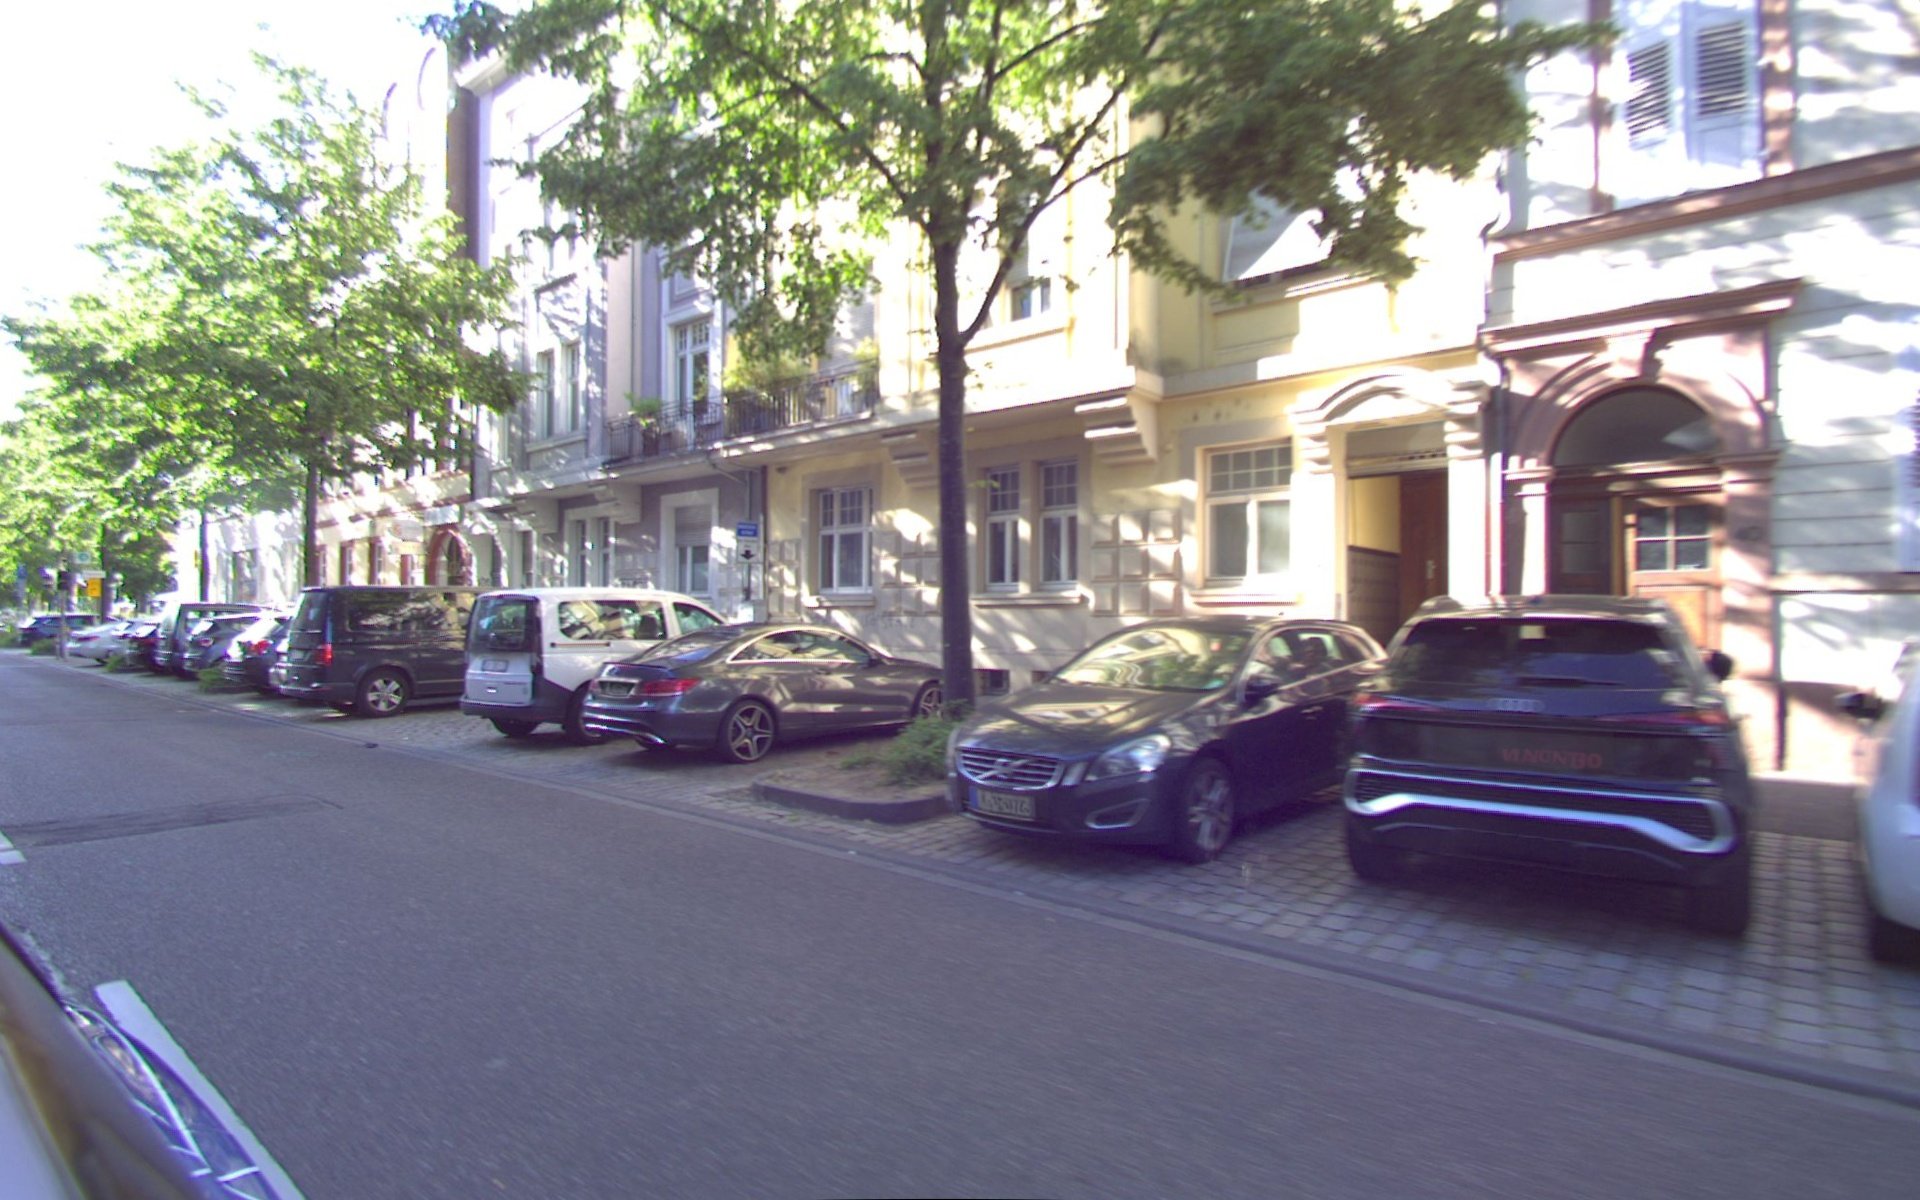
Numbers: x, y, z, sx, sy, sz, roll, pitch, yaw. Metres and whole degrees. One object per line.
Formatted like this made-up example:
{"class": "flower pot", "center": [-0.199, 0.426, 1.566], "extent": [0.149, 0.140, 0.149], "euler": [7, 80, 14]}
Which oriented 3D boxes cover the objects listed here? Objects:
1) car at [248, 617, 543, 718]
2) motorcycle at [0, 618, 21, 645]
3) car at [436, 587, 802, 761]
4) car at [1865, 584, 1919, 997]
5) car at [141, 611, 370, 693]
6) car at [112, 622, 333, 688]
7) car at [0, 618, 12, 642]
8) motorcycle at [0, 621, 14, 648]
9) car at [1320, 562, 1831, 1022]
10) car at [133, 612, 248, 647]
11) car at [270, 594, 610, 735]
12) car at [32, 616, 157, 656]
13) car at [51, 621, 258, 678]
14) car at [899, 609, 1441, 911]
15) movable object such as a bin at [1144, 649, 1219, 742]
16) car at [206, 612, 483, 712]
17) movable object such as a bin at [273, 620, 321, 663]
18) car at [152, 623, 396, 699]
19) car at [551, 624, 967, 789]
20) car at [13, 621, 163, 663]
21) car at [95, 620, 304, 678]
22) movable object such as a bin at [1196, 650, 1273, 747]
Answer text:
{"class": "car", "center": [-10.098, 1.107, 18.396], "extent": [1.915, 1.607, 4.296], "euler": [-1, -1, 39]}
{"class": "motorcycle", "center": [-52.627, 1.717, 55.322], "extent": [1.724, 1.434, 0.832], "euler": [0, -1, -22]}
{"class": "car", "center": [-4.176, 0.826, 13.125], "extent": [1.910, 1.848, 4.307], "euler": [-1, -1, 31]}
{"class": "car", "center": [5.736, 0.751, 4.983], "extent": [1.808, 1.594, 4.294], "euler": [-1, -1, 41]}
{"class": "car", "center": [-17.362, 1.209, 25.120], "extent": [1.927, 1.838, 4.299], "euler": [-1, -1, 37]}
{"class": "car", "center": [-19.300, 1.371, 26.692], "extent": [1.956, 1.556, 4.309], "euler": [-1, -1, 30]}
{"class": "car", "center": [-63.736, 1.936, 64.848], "extent": [1.978, 1.574, 3.988], "euler": [0, -1, 10]}
{"class": "motorcycle", "center": [-52.447, 1.871, 54.286], "extent": [2.282, 1.434, 1.004], "euler": [0, -1, -22]}
{"class": "car", "center": [3.933, 0.757, 6.067], "extent": [1.916, 1.722, 4.294], "euler": [-1, -1, 41]}
{"class": "car", "center": [-46.124, 1.808, 60.824], "extent": [2.055, 1.959, 5.302], "euler": [0, -2, 15]}
{"class": "car", "center": [-8.232, 0.932, 16.345], "extent": [1.930, 1.941, 4.522], "euler": [-1, -1, 44]}
{"class": "car", "center": [-37.725, 1.521, 44.156], "extent": [1.945, 1.652, 3.943], "euler": [-1, -1, 43]}
{"class": "car", "center": [-24.742, 1.460, 31.243], "extent": [1.996, 1.503, 4.657], "euler": [0, 0, 36]}
{"class": "car", "center": [1.802, 0.859, 7.486], "extent": [1.917, 1.552, 4.417], "euler": [-1, -1, 43]}
{"class": "movable object such as a bin", "center": [2.740, 1.157, 12.499], "extent": [0.684, 1.084, 0.634], "euler": [-1, -3, 42]}
{"class": "car", "center": [-11.974, 1.124, 19.931], "extent": [1.915, 1.746, 4.296], "euler": [-1, -1, 39]}
{"class": "movable object such as a bin", "center": [-23.047, 1.429, 35.168], "extent": [1.382, 1.455, 1.121], "euler": [-1, -1, 45]}
{"class": "car", "center": [-15.720, 1.333, 23.451], "extent": [1.908, 1.556, 4.312], "euler": [-1, -1, 28]}
{"class": "car", "center": [-2.052, 1.007, 11.312], "extent": [1.916, 1.450, 4.292], "euler": [-1, -1, 42]}
{"class": "car", "center": [-34.209, 1.593, 39.780], "extent": [1.945, 1.556, 4.291], "euler": [-1, -1, 43]}
{"class": "car", "center": [-22.654, 1.407, 30.334], "extent": [1.996, 1.503, 4.657], "euler": [-2, -1, 36]}
{"class": "movable object such as a bin", "center": [3.258, 1.143, 12.014], "extent": [0.684, 1.084, 0.634], "euler": [-1, -3, 42]}
